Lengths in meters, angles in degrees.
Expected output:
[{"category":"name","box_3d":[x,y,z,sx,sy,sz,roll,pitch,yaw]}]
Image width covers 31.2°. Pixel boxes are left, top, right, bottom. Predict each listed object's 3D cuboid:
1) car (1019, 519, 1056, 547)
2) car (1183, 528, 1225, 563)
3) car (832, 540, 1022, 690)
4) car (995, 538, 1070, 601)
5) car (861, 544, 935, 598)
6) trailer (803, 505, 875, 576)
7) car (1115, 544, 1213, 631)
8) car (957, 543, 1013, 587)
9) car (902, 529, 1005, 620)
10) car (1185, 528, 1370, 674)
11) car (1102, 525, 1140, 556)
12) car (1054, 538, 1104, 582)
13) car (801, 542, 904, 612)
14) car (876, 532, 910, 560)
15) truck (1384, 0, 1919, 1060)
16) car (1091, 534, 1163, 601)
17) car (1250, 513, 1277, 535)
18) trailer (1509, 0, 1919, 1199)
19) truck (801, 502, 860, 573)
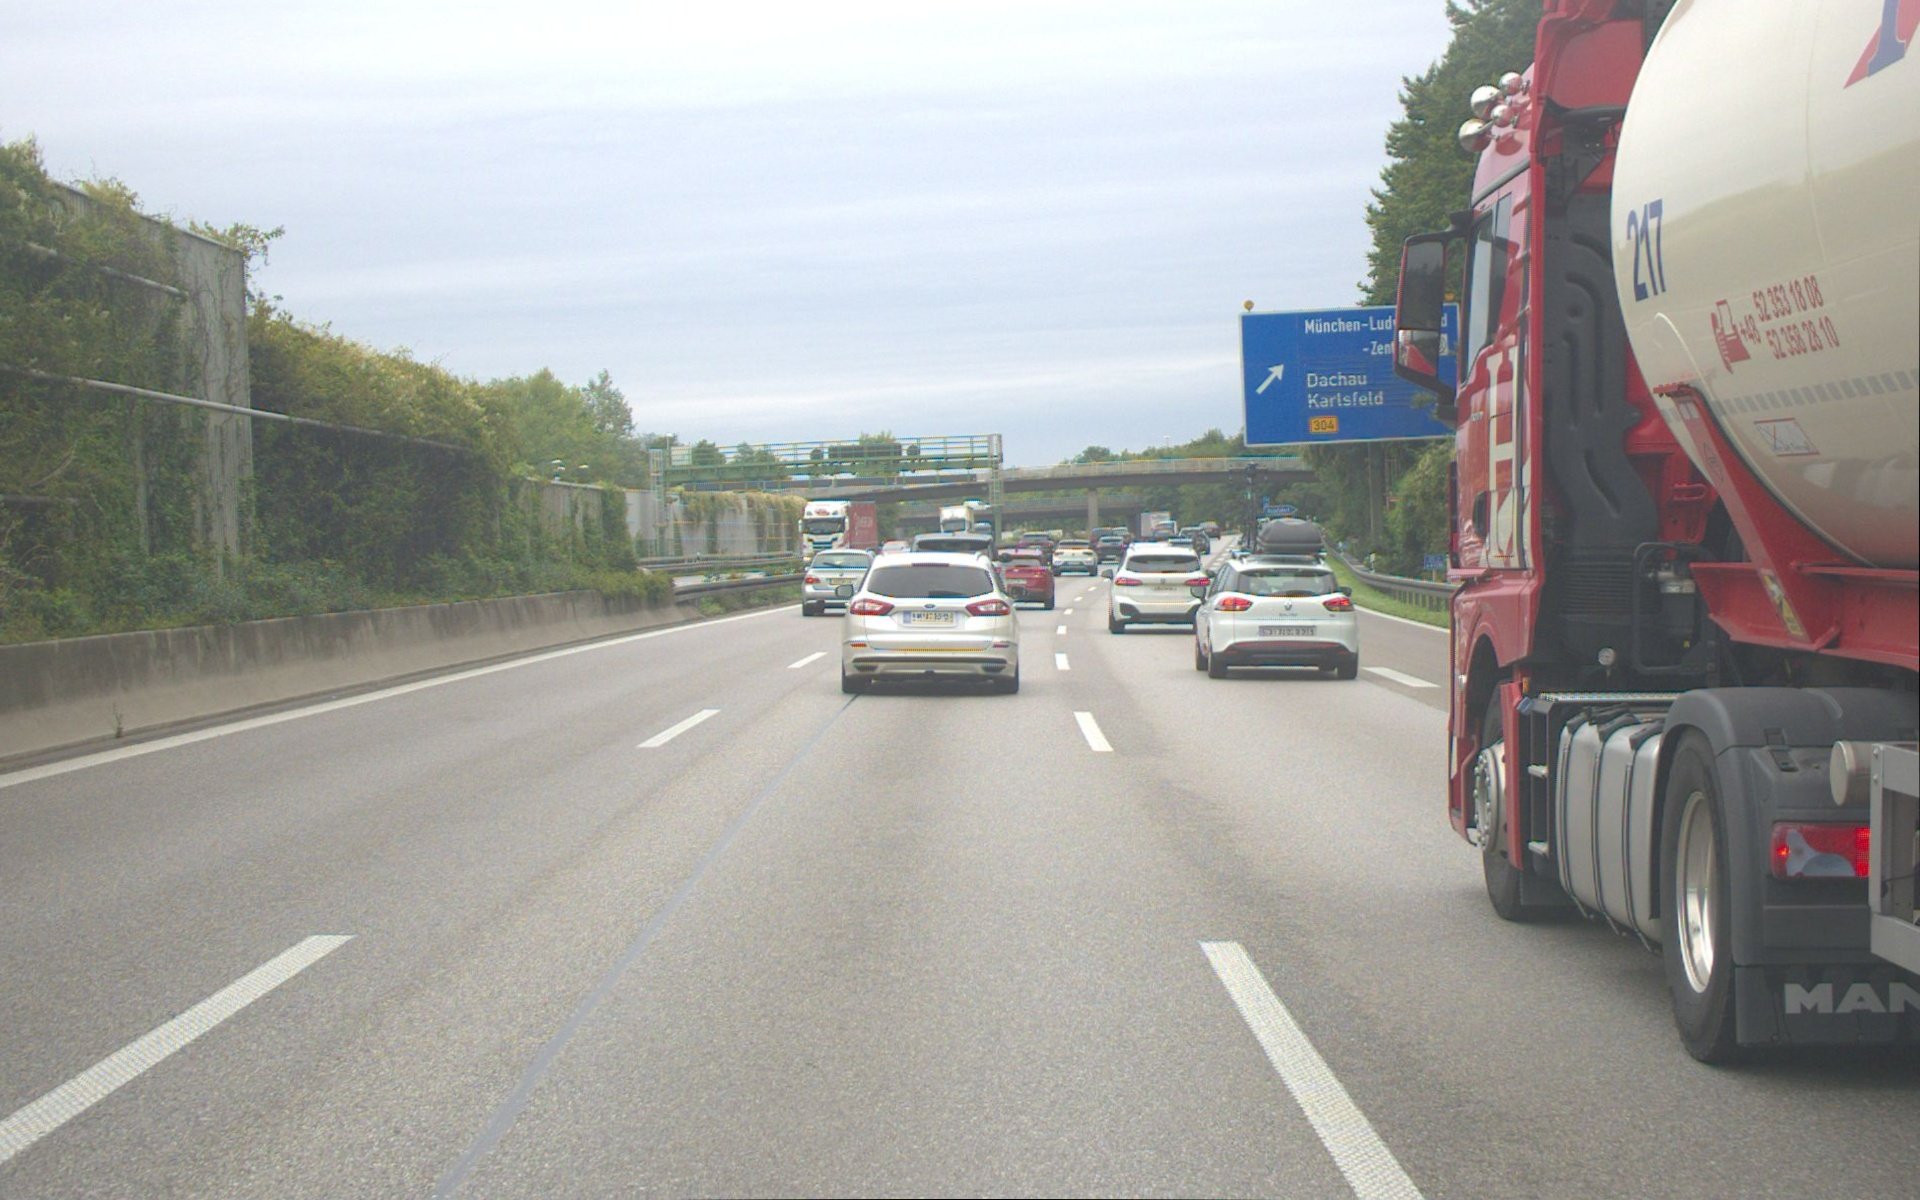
[{"category":"car","box_3d":[4.020,-3.484,177.695,1.689,1.417,3.871,0,1,5]},{"category":"car","box_3d":[11.062,-2.472,155.718,1.689,1.534,3.870,0,1,7]},{"category":"car","box_3d":[-0.390,0.113,36.840,1.891,1.499,5.030,0,1,-1]},{"category":"car","box_3d":[1.793,-0.759,84.147,1.689,1.501,3.871,0,1,3]},{"category":"car","box_3d":[-1.764,-0.854,99.263,1.720,1.507,5.029,0,1,4]},{"category":"trailer","box_3d":[-7.268,-3.640,208.051,2.668,4.113,13.128,-1,1,5]},{"category":"car","box_3d":[3.663,-0.238,61.871,1.689,1.501,3.871,0,0,3]},{"category":"car","box_3d":[0.979,-1.333,132.207,1.689,1.634,3.870,-1,1,7]},{"category":"car","box_3d":[-0.086,-0.496,63.785,1.689,1.501,3.871,4,2,2]},{"category":"car","box_3d":[3.745,-0.017,41.291,1.816,1.620,5.030,1,1,1]},{"category":"car","box_3d":[8.289,-3.065,176.895,1.689,1.535,3.870,-1,1,7]},{"category":"car","box_3d":[5.000,-1.661,143.958,1.790,1.773,3.870,-1,1,7]},{"category":"car","box_3d":[-2.352,-0.482,76.467,1.720,1.464,5.029,-1,-1,5]},{"category":"car","box_3d":[-3.975,-3.203,204.427,1.772,1.564,4.717,0,0,2]},{"category":"truck","box_3d":[3.414,-0.677,13.199,2.695,3.899,6.557,0,1,0]},{"category":"car","box_3d":[4.651,-0.883,95.425,1.689,1.773,3.870,-2,0,7]},{"category":"car","box_3d":[19.693,-4.914,222.955,1.689,1.417,3.871,0,1,5]},{"category":"trailer","box_3d":[3.427,-0.543,5.982,2.668,3.925,13.131,0,1,-1]},{"category":"truck","box_3d":[-7.646,-3.718,204.007,2.668,4.113,5.915,-1,1,5]}]
